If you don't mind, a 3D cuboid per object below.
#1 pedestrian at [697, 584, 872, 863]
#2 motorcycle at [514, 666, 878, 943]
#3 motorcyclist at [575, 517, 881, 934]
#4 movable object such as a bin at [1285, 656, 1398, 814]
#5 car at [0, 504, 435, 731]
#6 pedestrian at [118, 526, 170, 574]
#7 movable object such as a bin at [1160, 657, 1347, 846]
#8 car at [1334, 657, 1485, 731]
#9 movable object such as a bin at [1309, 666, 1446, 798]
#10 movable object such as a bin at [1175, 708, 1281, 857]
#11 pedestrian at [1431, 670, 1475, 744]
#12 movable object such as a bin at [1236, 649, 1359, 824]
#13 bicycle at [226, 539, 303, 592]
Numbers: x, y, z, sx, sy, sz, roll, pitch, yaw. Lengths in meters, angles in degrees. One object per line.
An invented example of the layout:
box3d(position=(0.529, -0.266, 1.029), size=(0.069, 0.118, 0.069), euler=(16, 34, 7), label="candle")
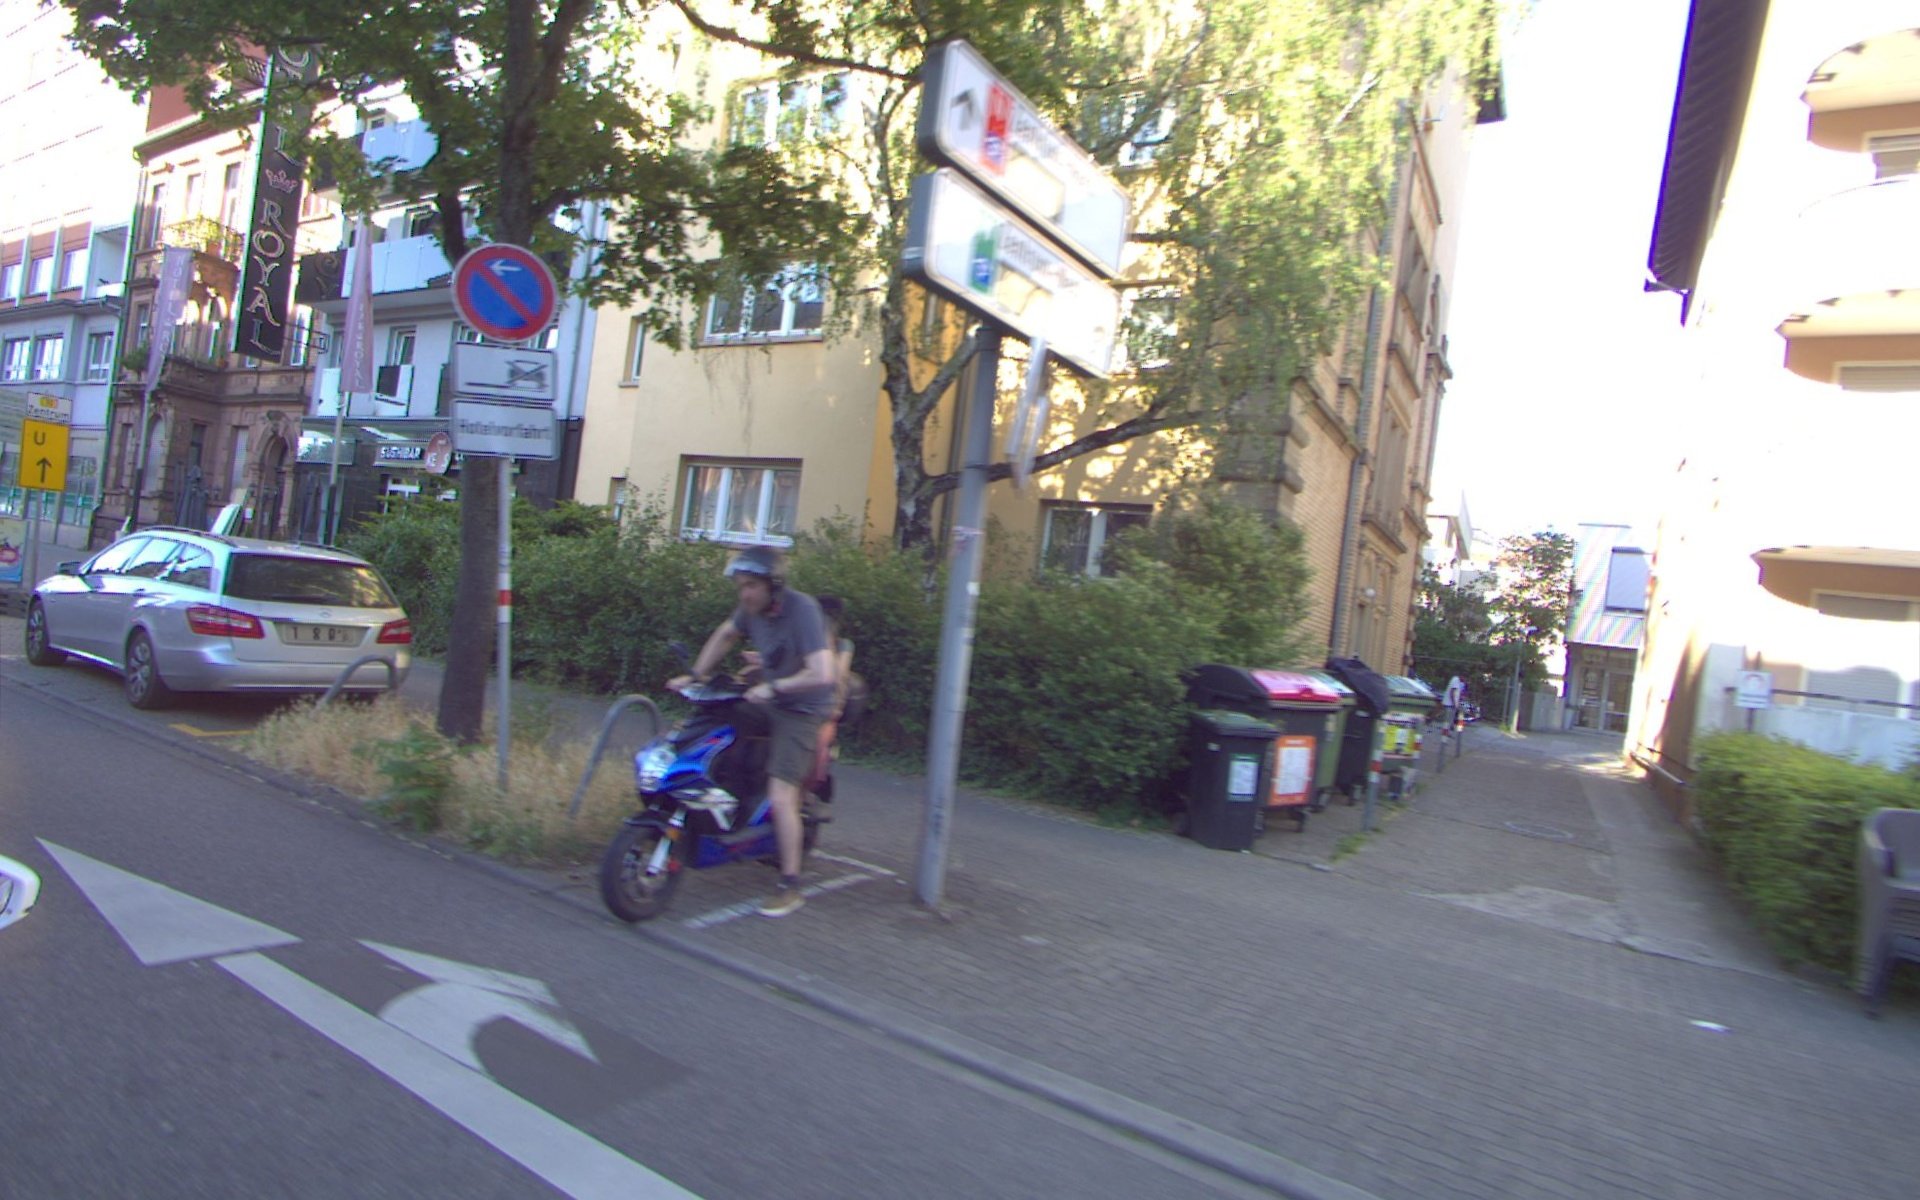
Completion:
box3d(position=(-0.997, 0.683, 5.774), size=(0.691, 1.447, 0.440), euler=(7, 0, 20), label="pedestrian")
box3d(position=(-1.268, 0.958, 5.357), size=(0.805, 1.083, 1.933), euler=(7, -1, 20), label="motorcycle")
box3d(position=(-1.145, 0.577, 5.073), size=(1.068, 1.799, 0.738), euler=(7, -1, 20), label="motorcyclist")
box3d(position=(4.369, 1.496, 11.517), size=(0.976, 1.574, 1.158), euler=(7, 0, 22), label="movable object such as a bin")
box3d(position=(-7.344, 0.075, 9.747), size=(4.756, 1.531, 1.857), euler=(7, 0, 34), label="car")
box3d(position=(-20.652, -1.266, 25.462), size=(0.930, 1.056, 0.691), euler=(7, -1, 35), label="pedestrian")
box3d(position=(2.651, 1.336, 9.072), size=(1.249, 1.459, 0.982), euler=(8, -1, -44), label="movable object such as a bin")
box3d(position=(14.769, 3.029, 33.167), size=(4.245, 1.687, 1.997), euler=(8, 2, 26), label="car")
box3d(position=(5.294, 1.666, 12.785), size=(1.130, 1.459, 0.987), euler=(8, 0, -30), label="movable object such as a bin")
box3d(position=(2.171, 1.458, 8.144), size=(0.541, 1.071, 0.493), euler=(7, 0, 44), label="movable object such as a bin")
box3d(position=(12.885, 2.793, 26.280), size=(0.768, 1.772, 0.639), euler=(7, -4, 34), label="pedestrian")
box3d(position=(3.528, 1.373, 10.462), size=(0.976, 1.574, 1.158), euler=(7, 0, 22), label="movable object such as a bin")
box3d(position=(-16.102, -0.786, 23.315), size=(0.479, 1.125, 1.425), euler=(7, 1, 15), label="bicycle")
